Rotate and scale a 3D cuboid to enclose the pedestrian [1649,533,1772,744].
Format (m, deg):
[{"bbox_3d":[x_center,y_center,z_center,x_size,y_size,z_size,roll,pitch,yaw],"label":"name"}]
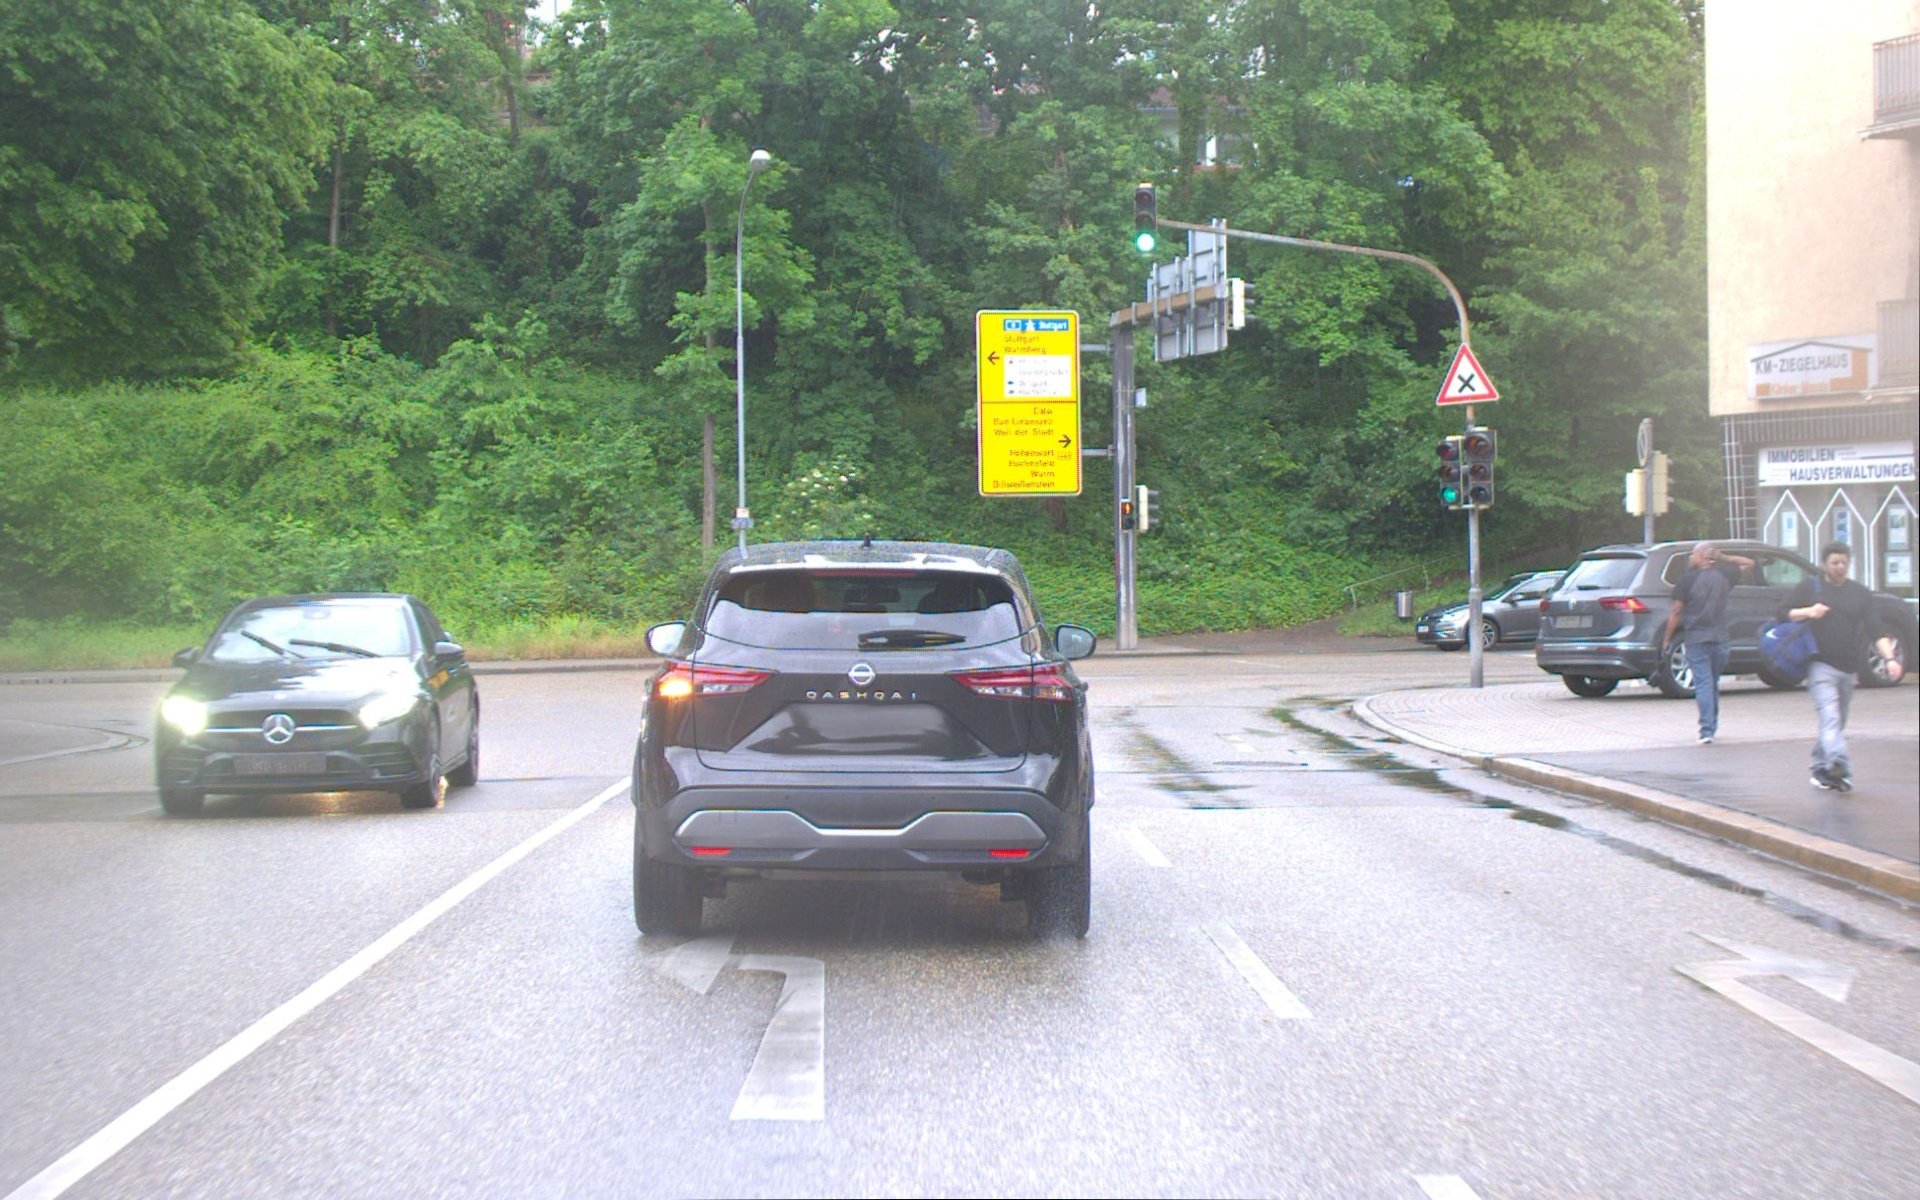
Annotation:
[{"bbox_3d":[6.139,0.306,28.152,0.761,1.671,0.781,-3,1,-1],"label":"pedestrian"}]

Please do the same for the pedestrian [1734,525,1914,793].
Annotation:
[{"bbox_3d":[5.381,0.357,21.457,0.862,1.613,0.839,-2,0,-1],"label":"pedestrian"}]

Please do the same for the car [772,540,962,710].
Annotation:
[{"bbox_3d":[-0.931,0.204,35.178,1.811,1.597,4.000,1,1,-1],"label":"car"}]

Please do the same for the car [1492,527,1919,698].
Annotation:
[{"bbox_3d":[8.107,0.113,37.019,4.366,1.643,1.884,-2,1,-26],"label":"car"}]

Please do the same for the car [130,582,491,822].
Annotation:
[{"bbox_3d":[-4.344,0.626,23.567,1.709,1.411,4.094,-2,1,-1],"label":"car"}]

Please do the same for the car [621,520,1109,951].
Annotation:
[{"bbox_3d":[-0.386,0.503,14.865,1.811,1.597,4.000,0,0,-1],"label":"car"}]

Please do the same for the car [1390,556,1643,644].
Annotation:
[{"bbox_3d":[10.574,-0.014,65.441,4.323,1.497,1.884,-2,1,-12],"label":"car"}]
